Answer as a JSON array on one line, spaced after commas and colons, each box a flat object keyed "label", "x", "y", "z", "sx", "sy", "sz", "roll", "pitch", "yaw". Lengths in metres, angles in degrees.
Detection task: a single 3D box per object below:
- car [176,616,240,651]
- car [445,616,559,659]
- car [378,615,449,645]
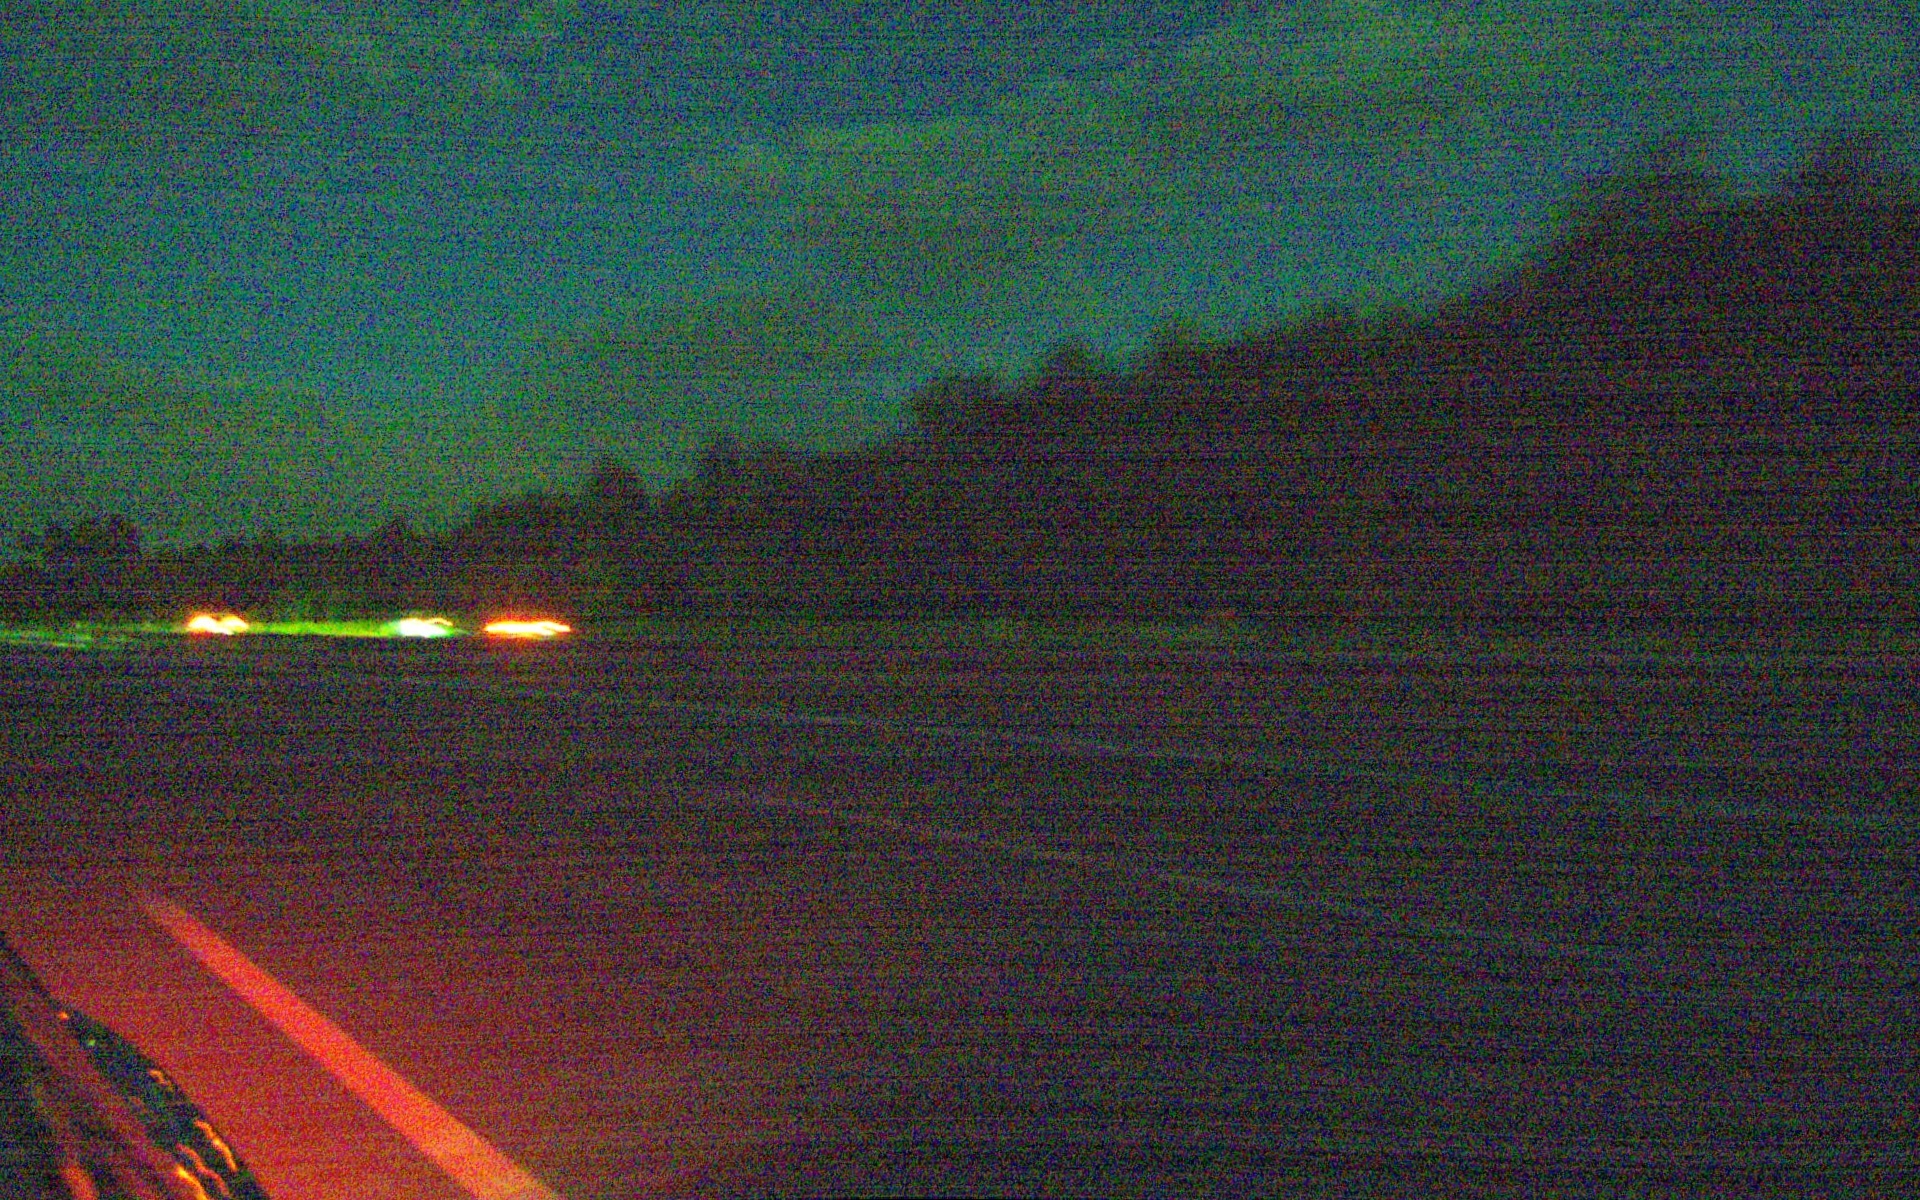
[{"label": "car", "x": -41.590, "y": 1.833, "z": 55.968, "sx": 4.679, "sy": 1.804, "sz": 1.972, "roll": -1, "pitch": 0, "yaw": 42}, {"label": "car", "x": -17.444, "y": 1.374, "z": 38.427, "sx": 4.925, "sy": 1.491, "sz": 1.974, "roll": -1, "pitch": 0, "yaw": 40}, {"label": "car", "x": -29.362, "y": 1.584, "z": 54.362, "sx": 4.399, "sy": 1.519, "sz": 1.973, "roll": -1, "pitch": 0, "yaw": 41}]
